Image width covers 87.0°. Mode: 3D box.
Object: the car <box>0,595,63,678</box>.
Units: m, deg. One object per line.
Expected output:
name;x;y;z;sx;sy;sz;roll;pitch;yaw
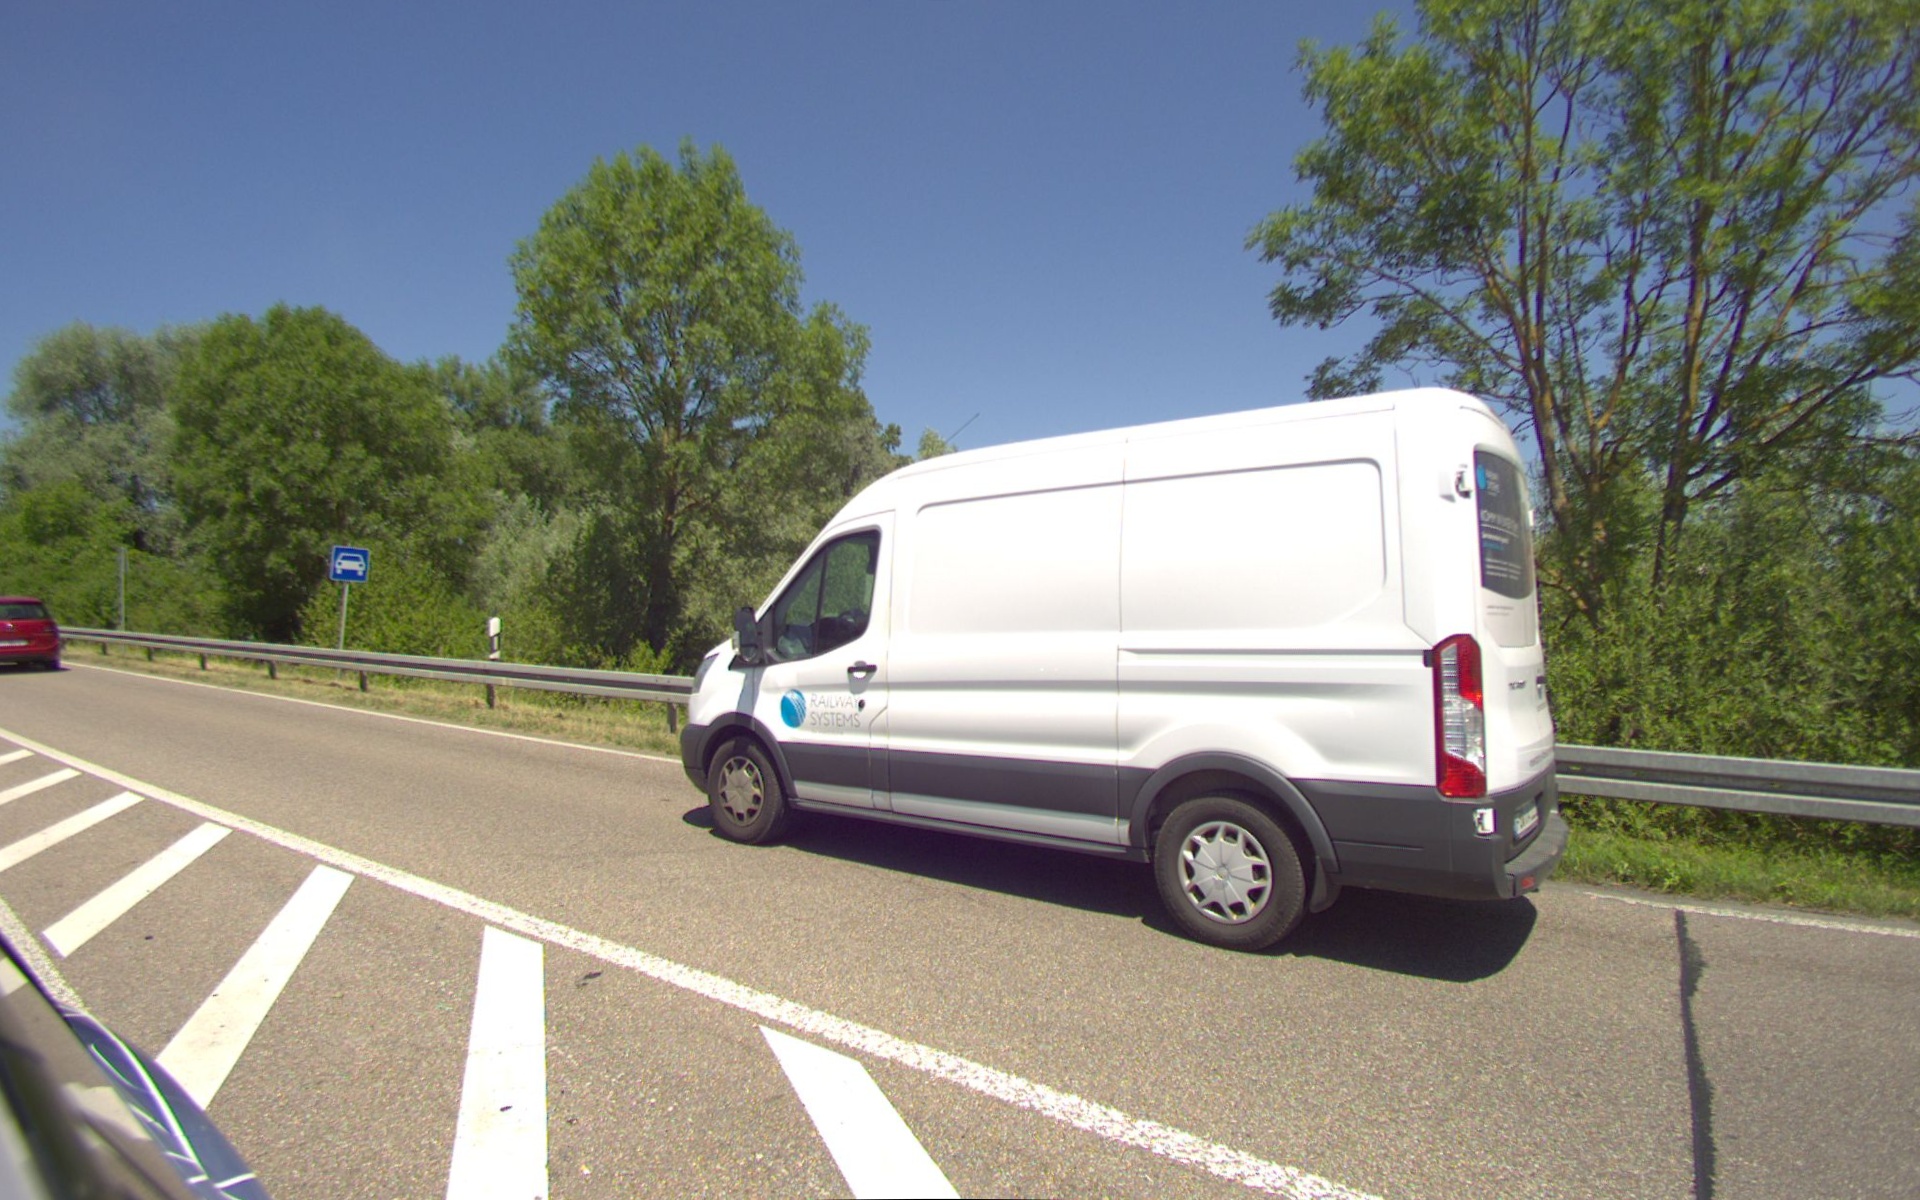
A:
car;-21.332;0.762;22.156;4.202;1.698;1.720;-1;-2;37

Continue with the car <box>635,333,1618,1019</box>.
car;0.559;0.311;6.101;5.581;2.435;1.975;-1;-2;38
